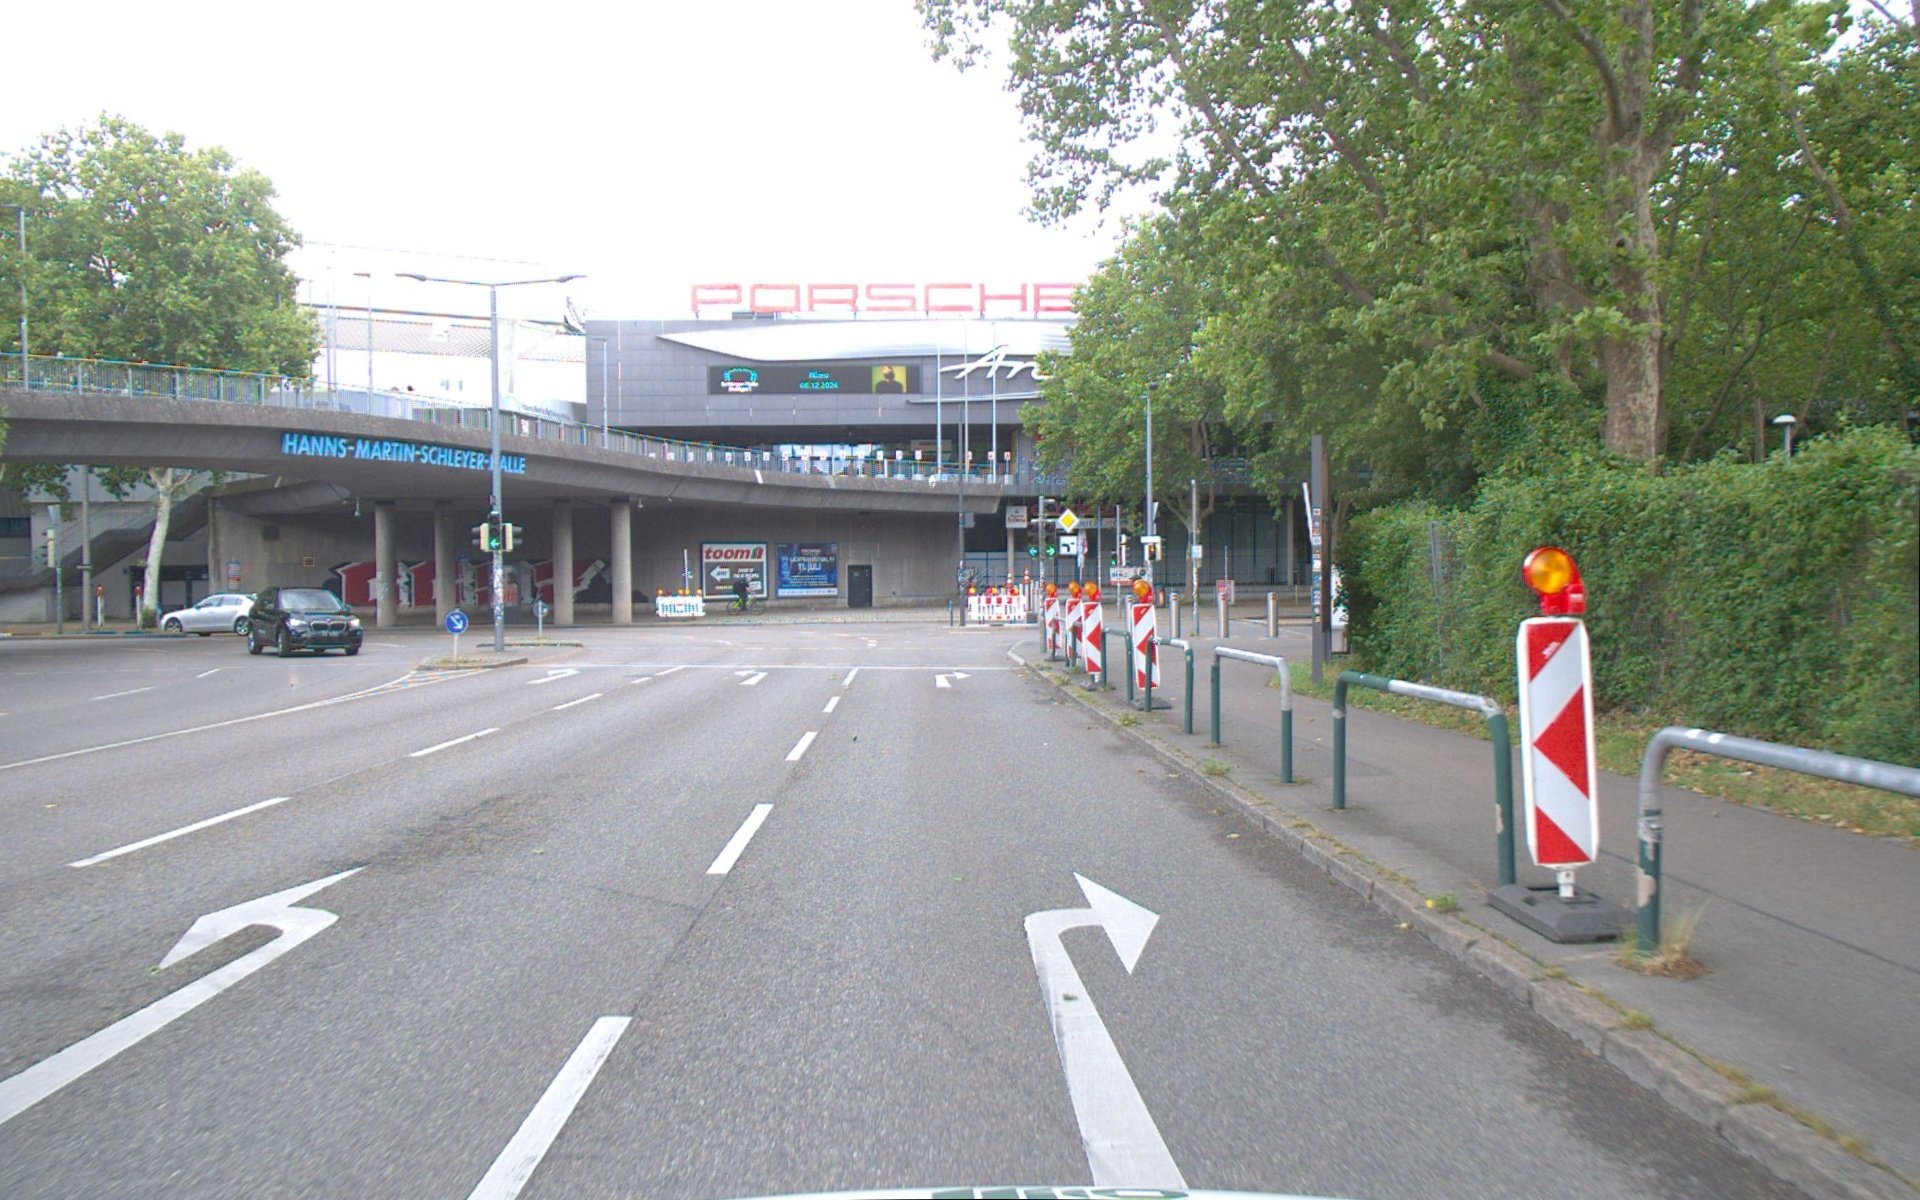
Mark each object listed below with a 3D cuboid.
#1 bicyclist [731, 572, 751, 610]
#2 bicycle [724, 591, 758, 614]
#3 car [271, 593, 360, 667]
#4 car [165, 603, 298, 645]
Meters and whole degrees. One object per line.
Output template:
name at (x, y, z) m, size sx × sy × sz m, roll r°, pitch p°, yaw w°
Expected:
bicyclist at (-10.055, -0.425, 75.982) m, size 0.835 × 1.727 × 0.766 m, roll 1°, pitch -1°, yaw -5°
bicycle at (-10.056, 0.095, 75.971) m, size 1.503 × 1.031 × 0.516 m, roll 1°, pitch -1°, yaw -6°
car at (-15.694, 0.724, 40.169) m, size 1.747 × 1.634 × 4.393 m, roll -2°, pitch 0°, yaw -24°
car at (-25.767, 0.845, 58.552) m, size 3.902 × 1.443 × 2.002 m, roll 0°, pitch 0°, yaw 12°
